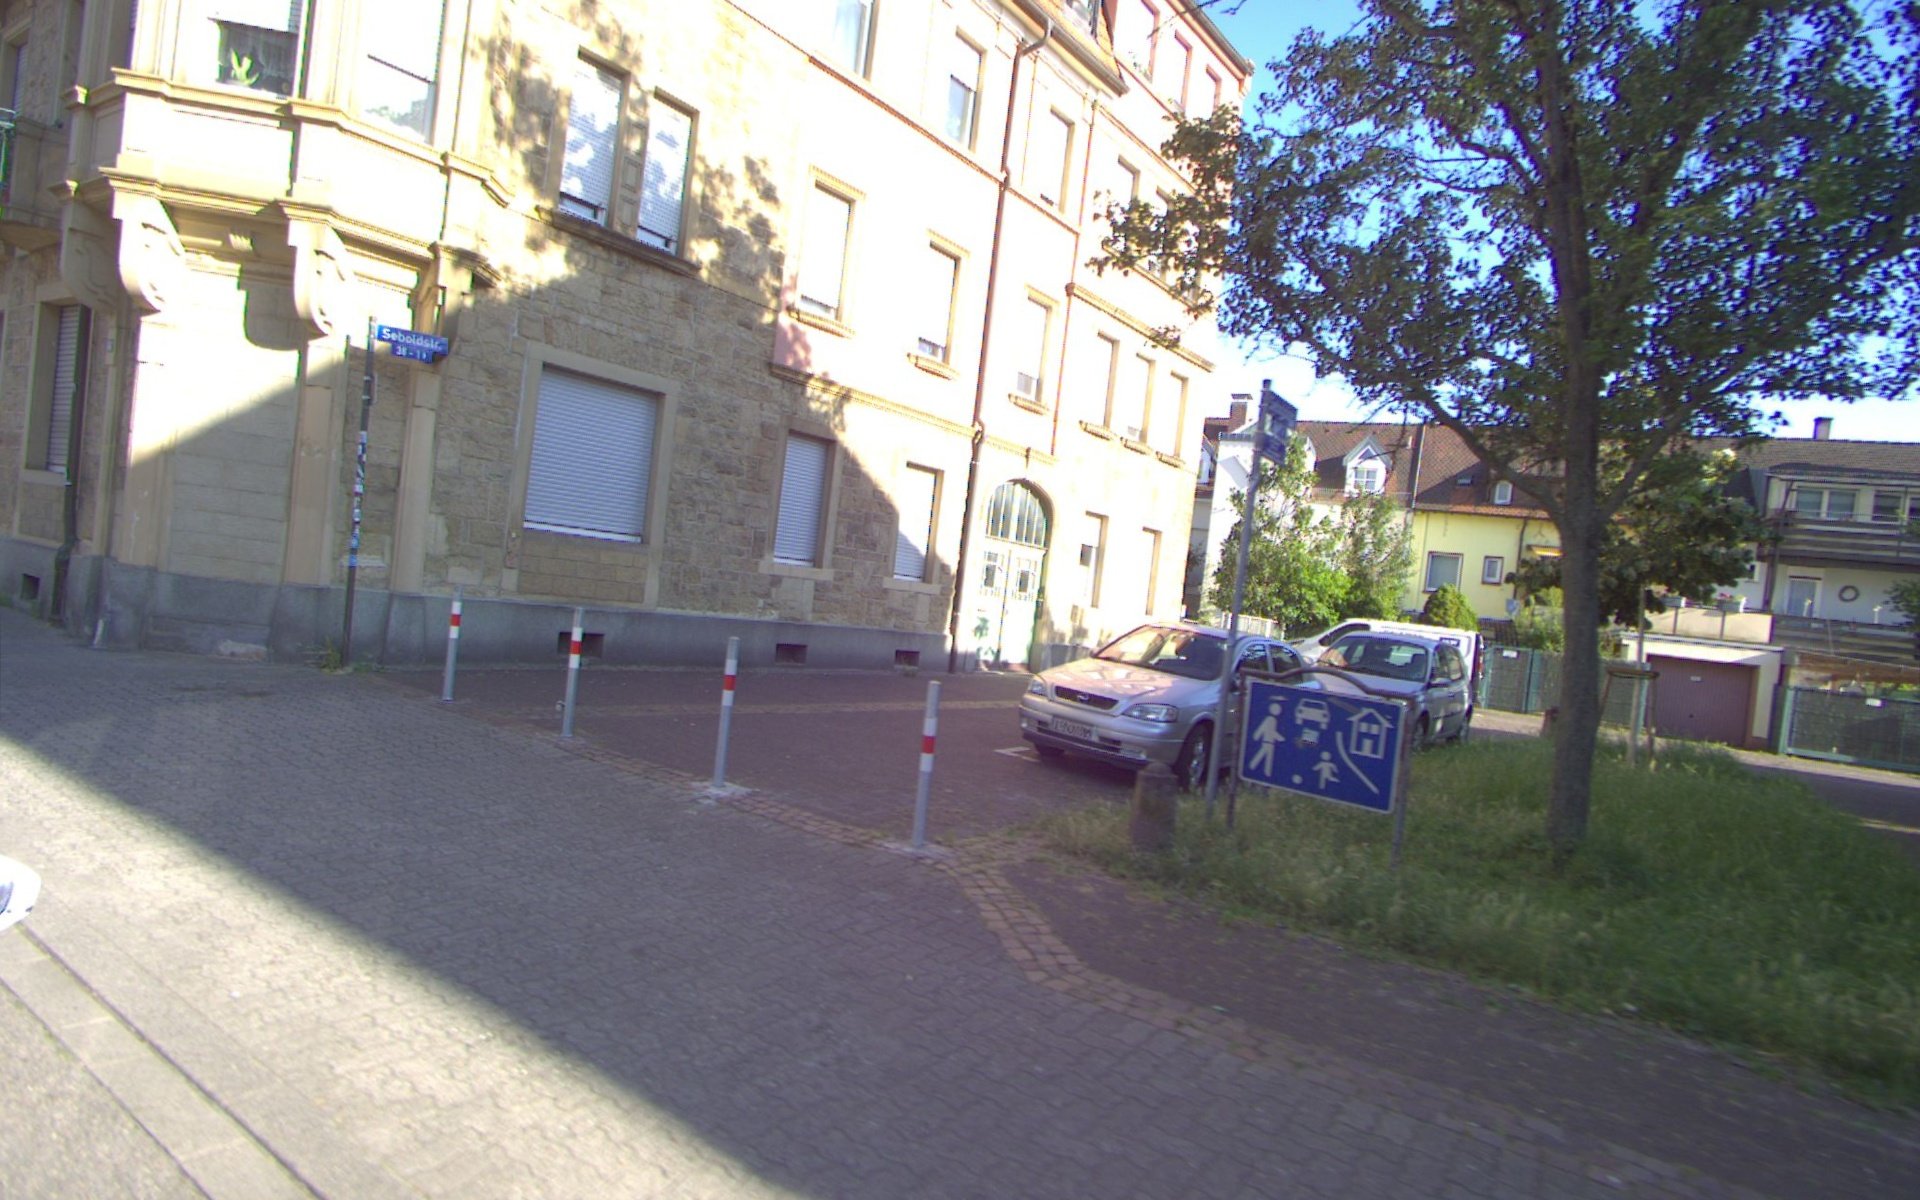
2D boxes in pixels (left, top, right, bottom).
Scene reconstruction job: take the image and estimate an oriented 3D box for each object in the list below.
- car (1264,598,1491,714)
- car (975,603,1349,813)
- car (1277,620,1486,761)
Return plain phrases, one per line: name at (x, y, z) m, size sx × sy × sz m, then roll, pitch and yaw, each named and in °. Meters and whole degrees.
car at (10.457, 1.407, 25.534) m, size 4.878 × 2.050 × 2.002 m, roll 9°, pitch -1°, yaw 21°
car at (2.184, 0.948, 10.090) m, size 1.874 × 1.439 × 3.946 m, roll 10°, pitch 4°, yaw 40°
car at (6.208, 1.246, 14.558) m, size 1.687 × 1.577 × 4.016 m, roll 8°, pitch 1°, yaw 37°
